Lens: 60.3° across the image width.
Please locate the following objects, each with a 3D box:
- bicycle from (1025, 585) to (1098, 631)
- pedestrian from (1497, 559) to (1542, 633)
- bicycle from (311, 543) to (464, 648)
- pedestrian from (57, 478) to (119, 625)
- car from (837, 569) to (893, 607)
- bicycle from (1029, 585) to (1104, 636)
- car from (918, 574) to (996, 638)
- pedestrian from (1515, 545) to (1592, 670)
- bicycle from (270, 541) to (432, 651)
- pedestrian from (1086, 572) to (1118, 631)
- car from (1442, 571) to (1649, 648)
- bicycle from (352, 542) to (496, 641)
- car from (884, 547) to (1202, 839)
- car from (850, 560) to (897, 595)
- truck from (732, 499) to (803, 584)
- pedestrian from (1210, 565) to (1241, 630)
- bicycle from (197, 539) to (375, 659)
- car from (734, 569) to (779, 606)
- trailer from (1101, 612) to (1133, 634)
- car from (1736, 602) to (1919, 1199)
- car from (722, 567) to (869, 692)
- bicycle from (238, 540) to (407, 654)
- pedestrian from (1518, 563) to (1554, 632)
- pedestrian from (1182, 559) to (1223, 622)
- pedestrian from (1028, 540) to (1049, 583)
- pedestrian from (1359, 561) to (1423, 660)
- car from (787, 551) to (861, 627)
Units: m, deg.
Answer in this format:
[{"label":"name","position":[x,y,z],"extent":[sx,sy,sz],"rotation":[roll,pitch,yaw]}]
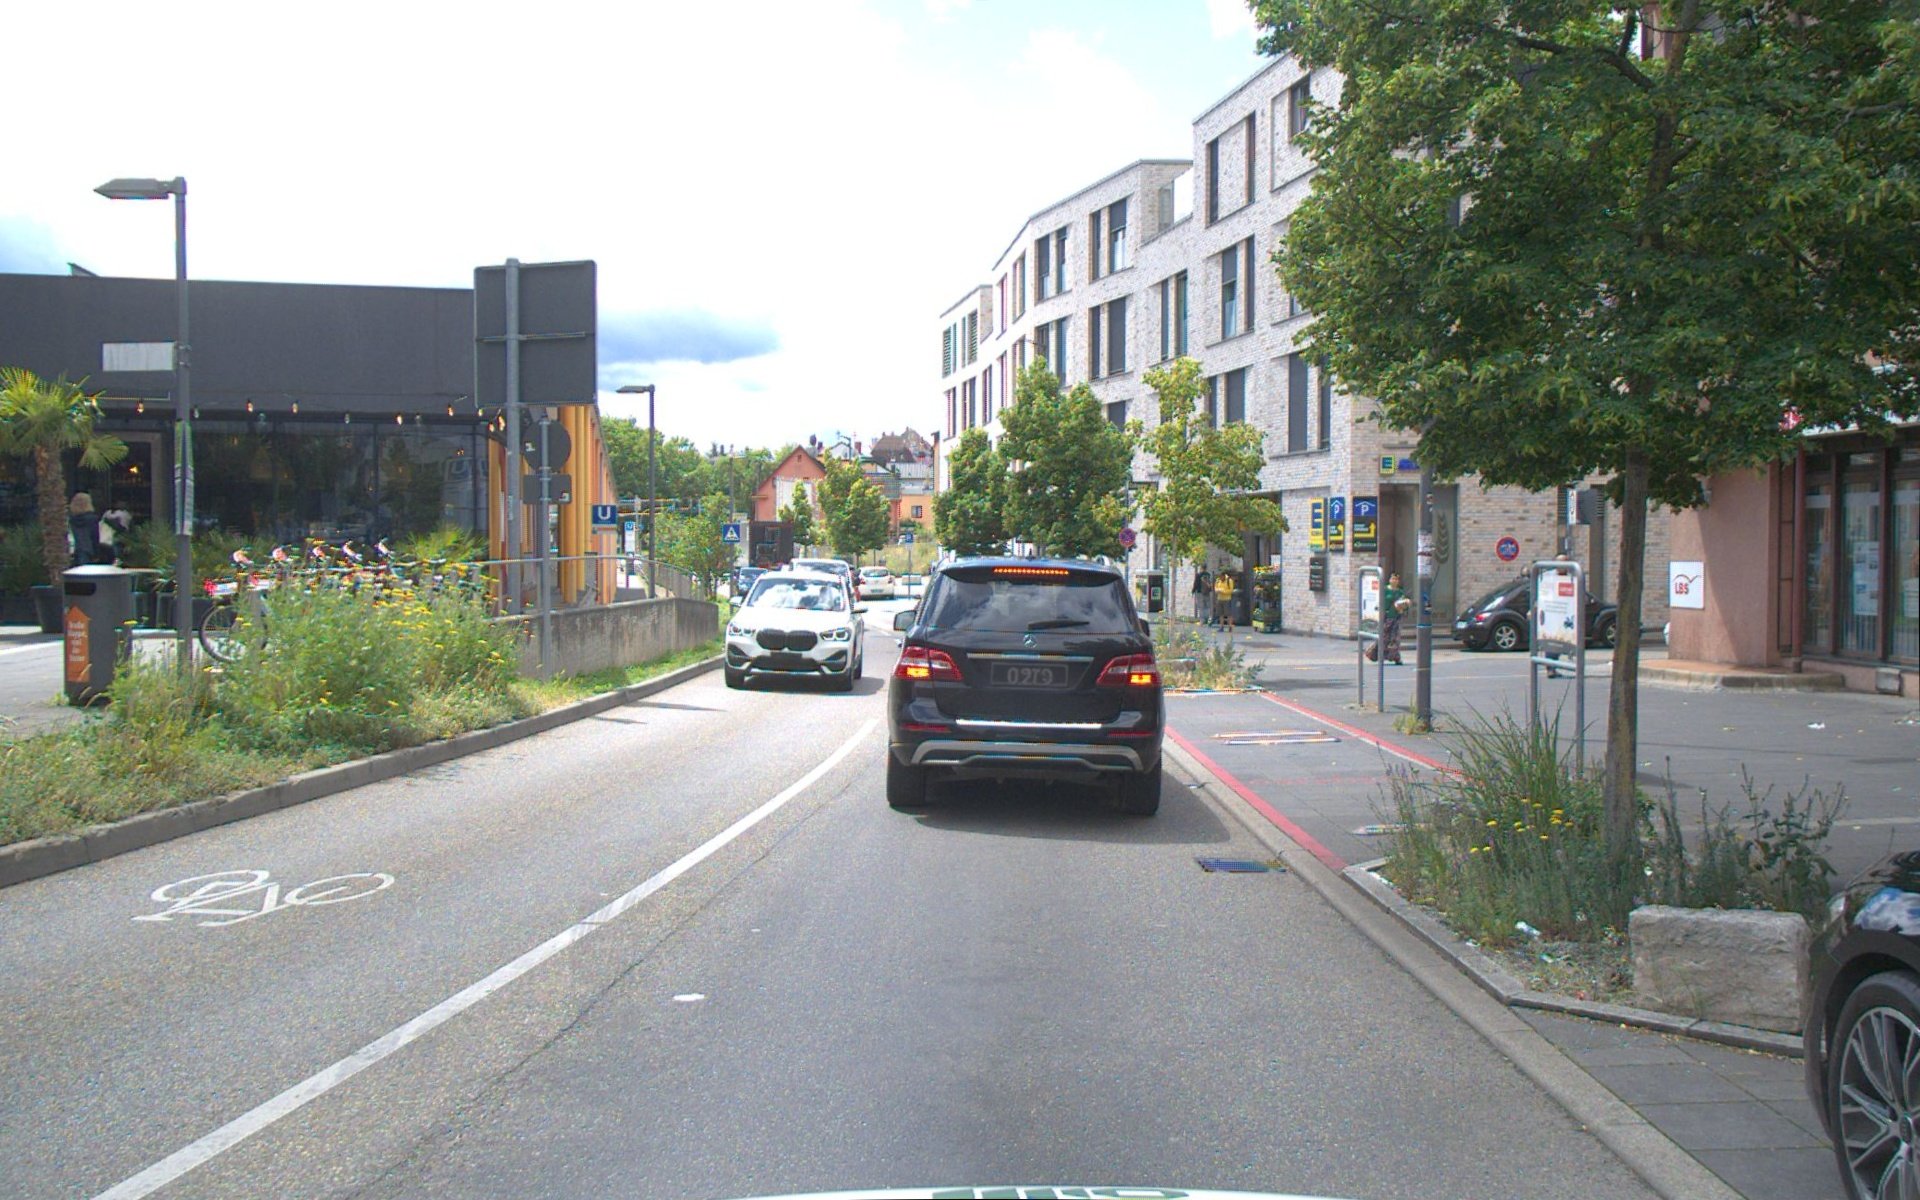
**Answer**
[{"label":"bicycle","position":[2.640,0.204,43.003],"extent":[1.787,1.151,0.755],"rotation":[-1,1,-6]},{"label":"pedestrian","position":[12.932,-0.089,38.237],"extent":[0.548,1.700,0.807],"rotation":[1,-1,-32]},{"label":"bicycle","position":[-6.419,-0.050,18.565],"extent":[1.514,1.147,0.534],"rotation":[-1,1,1]},{"label":"pedestrian","position":[-12.671,-0.690,24.042],"extent":[0.621,2.088,0.666],"rotation":[1,-1,-15]},{"label":"car","position":[-4.009,-0.541,69.062],"extent":[1.854,1.491,4.059],"rotation":[-1,1,-10]},{"label":"bicycle","position":[2.719,0.259,42.177],"extent":[1.787,1.222,0.755],"rotation":[-1,1,-6]},{"label":"car","position":[-0.124,0.126,43.371],"extent":[1.693,1.482,3.805],"rotation":[-1,2,-5]},{"label":"pedestrian","position":[8.388,0.102,23.408],"extent":[0.702,1.715,0.944],"rotation":[-1,0,-3]},{"label":"bicycle","position":[-6.504,-0.045,17.703],"extent":[1.514,1.147,0.534],"rotation":[-1,1,1]},{"label":"pedestrian","position":[3.955,0.043,45.958],"extent":[0.796,1.592,0.930],"rotation":[1,0,0]},{"label":"car","position":[12.586,0.179,35.659],"extent":[3.819,1.502,1.781],"rotation":[-2,1,-6]},{"label":"bicycle","position":[-6.350,-0.105,19.623],"extent":[1.514,1.147,0.534],"rotation":[-1,1,1]},{"label":"car","position":[0.486,0.524,12.622],"extent":[1.953,1.777,4.532],"rotation":[-1,1,-1]},{"label":"car","position":[-4.066,-1.062,77.123],"extent":[1.662,1.509,3.788],"rotation":[-2,2,-11]},{"label":"truck","position":[-11.165,-3.249,95.187],"extent":[3.147,4.615,9.000],"rotation":[1,0,-13]},{"label":"pedestrian","position":[7.083,-0.078,44.187],"extent":[0.645,1.722,0.631],"rotation":[0,1,28]},{"label":"bicycle","position":[-6.588,-0.012,16.198],"extent":[1.514,1.147,0.534],"rotation":[-1,1,1]},{"label":"car","position":[-8.851,-0.573,71.742],"extent":[1.740,1.489,4.225],"rotation":[1,1,-10]},{"label":"trailer","position":[3.995,0.593,42.112],"extent":[0.705,0.537,0.811],"rotation":[0,1,-2]},{"label":"car","position":[3.027,0.746,2.104],"extent":[1.952,1.438,4.737],"rotation":[0,1,1]},{"label":"car","position":[-2.306,0.362,24.161],"extent":[1.786,1.612,4.164],"rotation":[2,1,-2]},{"label":"bicycle","position":[-6.538,-0.036,17.001],"extent":[1.514,1.147,0.534],"rotation":[-1,1,1]},{"label":"pedestrian","position":[13.449,-0.055,38.597],"extent":[0.516,1.600,0.597],"rotation":[1,-1,-32]},{"label":"pedestrian","position":[6.912,-0.286,47.173],"extent":[0.998,1.772,0.657],"rotation":[-1,1,-16]},{"label":"pedestrian","position":[2.777,-1.361,58.539],"extent":[0.595,1.498,0.790],"rotation":[-1,2,-4]},{"label":"pedestrian","position":[7.534,0.172,28.889],"extent":[0.732,1.667,0.923],"rotation":[-1,2,38]},{"label":"car","position":[-4.076,-0.350,48.815],"extent":[1.955,2.048,5.387],"rotation":[2,1,-7]}]
